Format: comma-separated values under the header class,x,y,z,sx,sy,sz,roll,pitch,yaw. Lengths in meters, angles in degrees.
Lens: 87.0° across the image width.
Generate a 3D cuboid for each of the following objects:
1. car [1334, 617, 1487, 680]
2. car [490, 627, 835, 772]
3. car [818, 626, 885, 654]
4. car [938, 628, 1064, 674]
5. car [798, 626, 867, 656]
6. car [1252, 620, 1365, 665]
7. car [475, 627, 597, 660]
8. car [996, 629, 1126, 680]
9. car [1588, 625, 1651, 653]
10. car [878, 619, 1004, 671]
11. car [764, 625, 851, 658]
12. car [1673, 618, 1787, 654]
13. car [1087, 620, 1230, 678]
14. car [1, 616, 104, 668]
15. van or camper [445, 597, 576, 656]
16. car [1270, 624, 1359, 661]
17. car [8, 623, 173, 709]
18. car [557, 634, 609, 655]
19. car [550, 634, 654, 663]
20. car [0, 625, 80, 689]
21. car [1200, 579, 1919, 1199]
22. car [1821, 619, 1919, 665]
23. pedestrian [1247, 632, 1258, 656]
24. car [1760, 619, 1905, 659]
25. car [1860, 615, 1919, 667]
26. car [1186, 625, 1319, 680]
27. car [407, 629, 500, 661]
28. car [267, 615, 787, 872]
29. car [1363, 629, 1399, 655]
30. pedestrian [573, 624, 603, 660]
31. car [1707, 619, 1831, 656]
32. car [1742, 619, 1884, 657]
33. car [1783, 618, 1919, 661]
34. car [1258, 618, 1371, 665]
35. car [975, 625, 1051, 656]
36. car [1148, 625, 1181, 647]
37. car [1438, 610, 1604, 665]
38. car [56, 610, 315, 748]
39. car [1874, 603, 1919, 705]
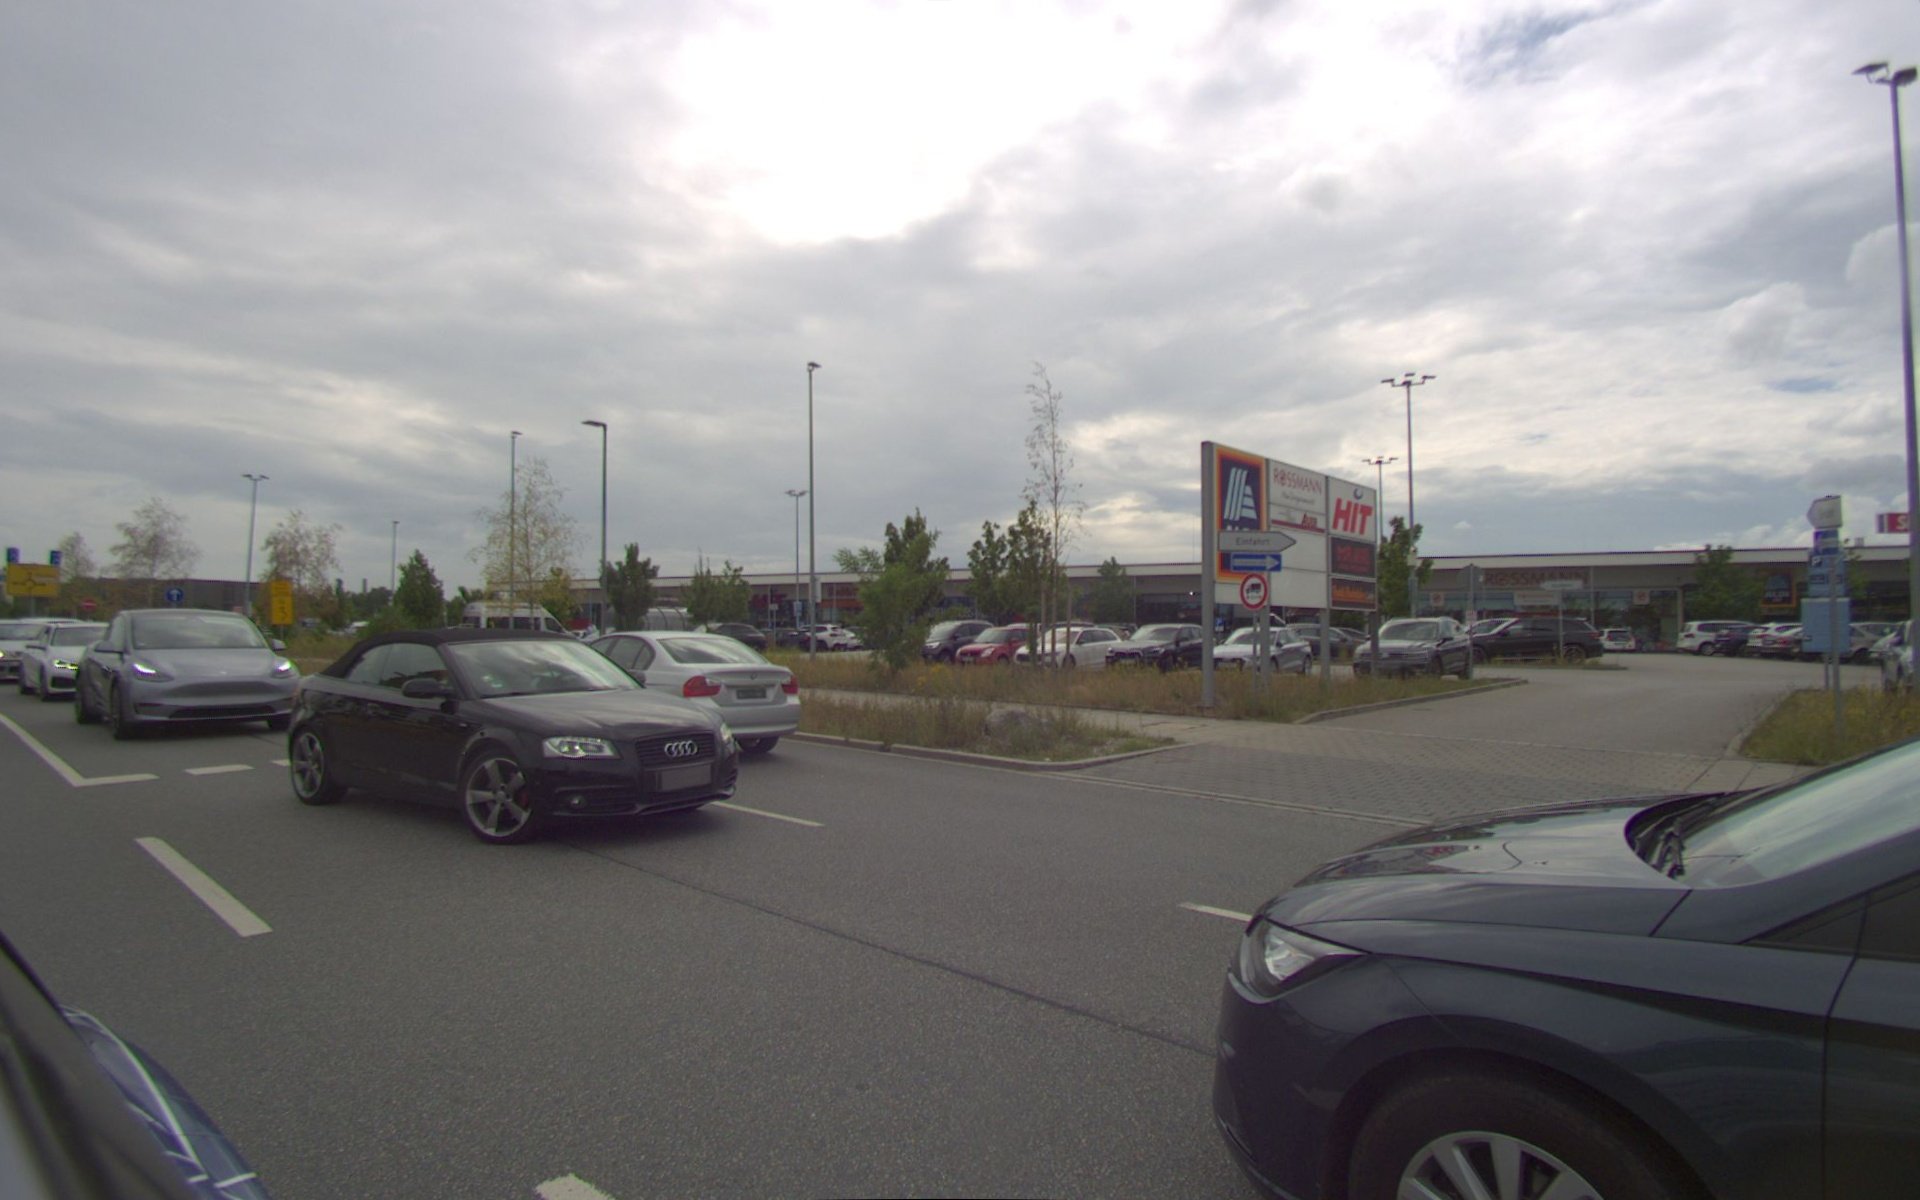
class,x,y,z,sx,sy,sz,roll,pitch,yaw
car,11.102,1.163,24.792,2.165,1.402,4.311,-2,-3,42
car,-3.714,1.070,12.220,4.496,1.428,1.817,-1,-4,41
car,-7.093,2.632,66.447,3.969,1.785,1.873,-1,-2,20
car,1.376,1.633,33.018,2.000,1.402,4.040,-2,-3,42
car,-8.044,2.585,63.749,3.974,1.785,1.766,0,-1,23
car,13.310,1.623,38.692,3.970,1.619,1.986,-1,-2,21
car,-16.848,1.721,40.358,2.010,1.269,4.038,-2,-3,41
car,3.187,1.646,31.319,2.009,1.468,4.275,-2,-3,39
car,39.579,2.337,60.827,1.982,1.619,3.979,-1,-2,16
car,-0.583,1.520,34.657,2.078,1.667,4.258,-2,-3,39
car,-9.264,2.510,61.572,4.896,1.914,2.141,-1,-2,24
car,37.840,1.781,49.836,3.968,1.746,1.988,-1,-2,19
car,5.800,1.385,29.260,2.238,1.517,4.319,-2,-3,41
car,-31.154,1.453,34.688,4.700,1.649,1.973,-1,-4,41
van or camper,-22.685,1.384,51.333,2.236,2.821,5.808,-1,-2,31
car,17.039,2.056,48.821,3.968,1.697,1.827,-1,-3,19
car,-16.941,1.197,19.653,4.191,1.480,1.860,-1,-2,41
car,-32.228,3.802,86.619,1.941,1.741,3.968,-1,-2,23
car,-16.863,2.256,47.891,2.007,1.314,4.286,-2,-3,35
car,-22.751,1.339,24.326,4.027,1.449,1.686,-2,-3,38
car,2.705,0.686,1.462,4.241,1.431,1.811,-1,-2,40
car,34.394,1.538,36.962,3.968,1.619,1.902,-1,-2,19
pedestrian,12.949,1.935,44.774,0.384,1.057,0.270,1,-2,-27
car,35.785,1.606,41.645,3.968,1.619,1.988,-1,-2,19
car,31.597,1.309,32.144,3.967,1.619,1.988,0,-2,18
car,7.935,1.386,27.219,2.024,1.350,4.272,-2,-3,37
car,-26.788,2.369,53.632,2.079,1.646,3.911,-2,-3,33
car,-3.450,0.859,7.747,4.223,1.449,1.753,0,-2,36
car,27.540,2.756,66.132,2.072,1.619,3.968,-1,-2,24
pedestrian,-19.703,2.211,53.666,1.105,1.904,1.004,-1,-2,18
car,37.478,1.744,46.992,3.968,1.619,1.988,-1,-2,19
car,37.302,1.663,44.417,4.259,1.619,1.988,-1,-2,19
car,34.782,1.535,39.198,3.968,1.619,1.988,-1,-2,19
car,15.195,1.787,43.615,4.404,1.936,1.830,-1,-2,14
car,3.302,2.500,62.718,4.273,1.888,2.230,-1,-2,20
car,14.000,2.473,69.284,1.986,1.493,4.032,-1,-2,15
car,18.602,1.227,33.825,4.550,1.760,1.986,0,-2,21
car,-10.712,0.986,13.876,4.611,1.573,1.972,-2,-3,42
car,18.219,0.949,18.321,2.025,1.736,4.203,-1,-2,36
